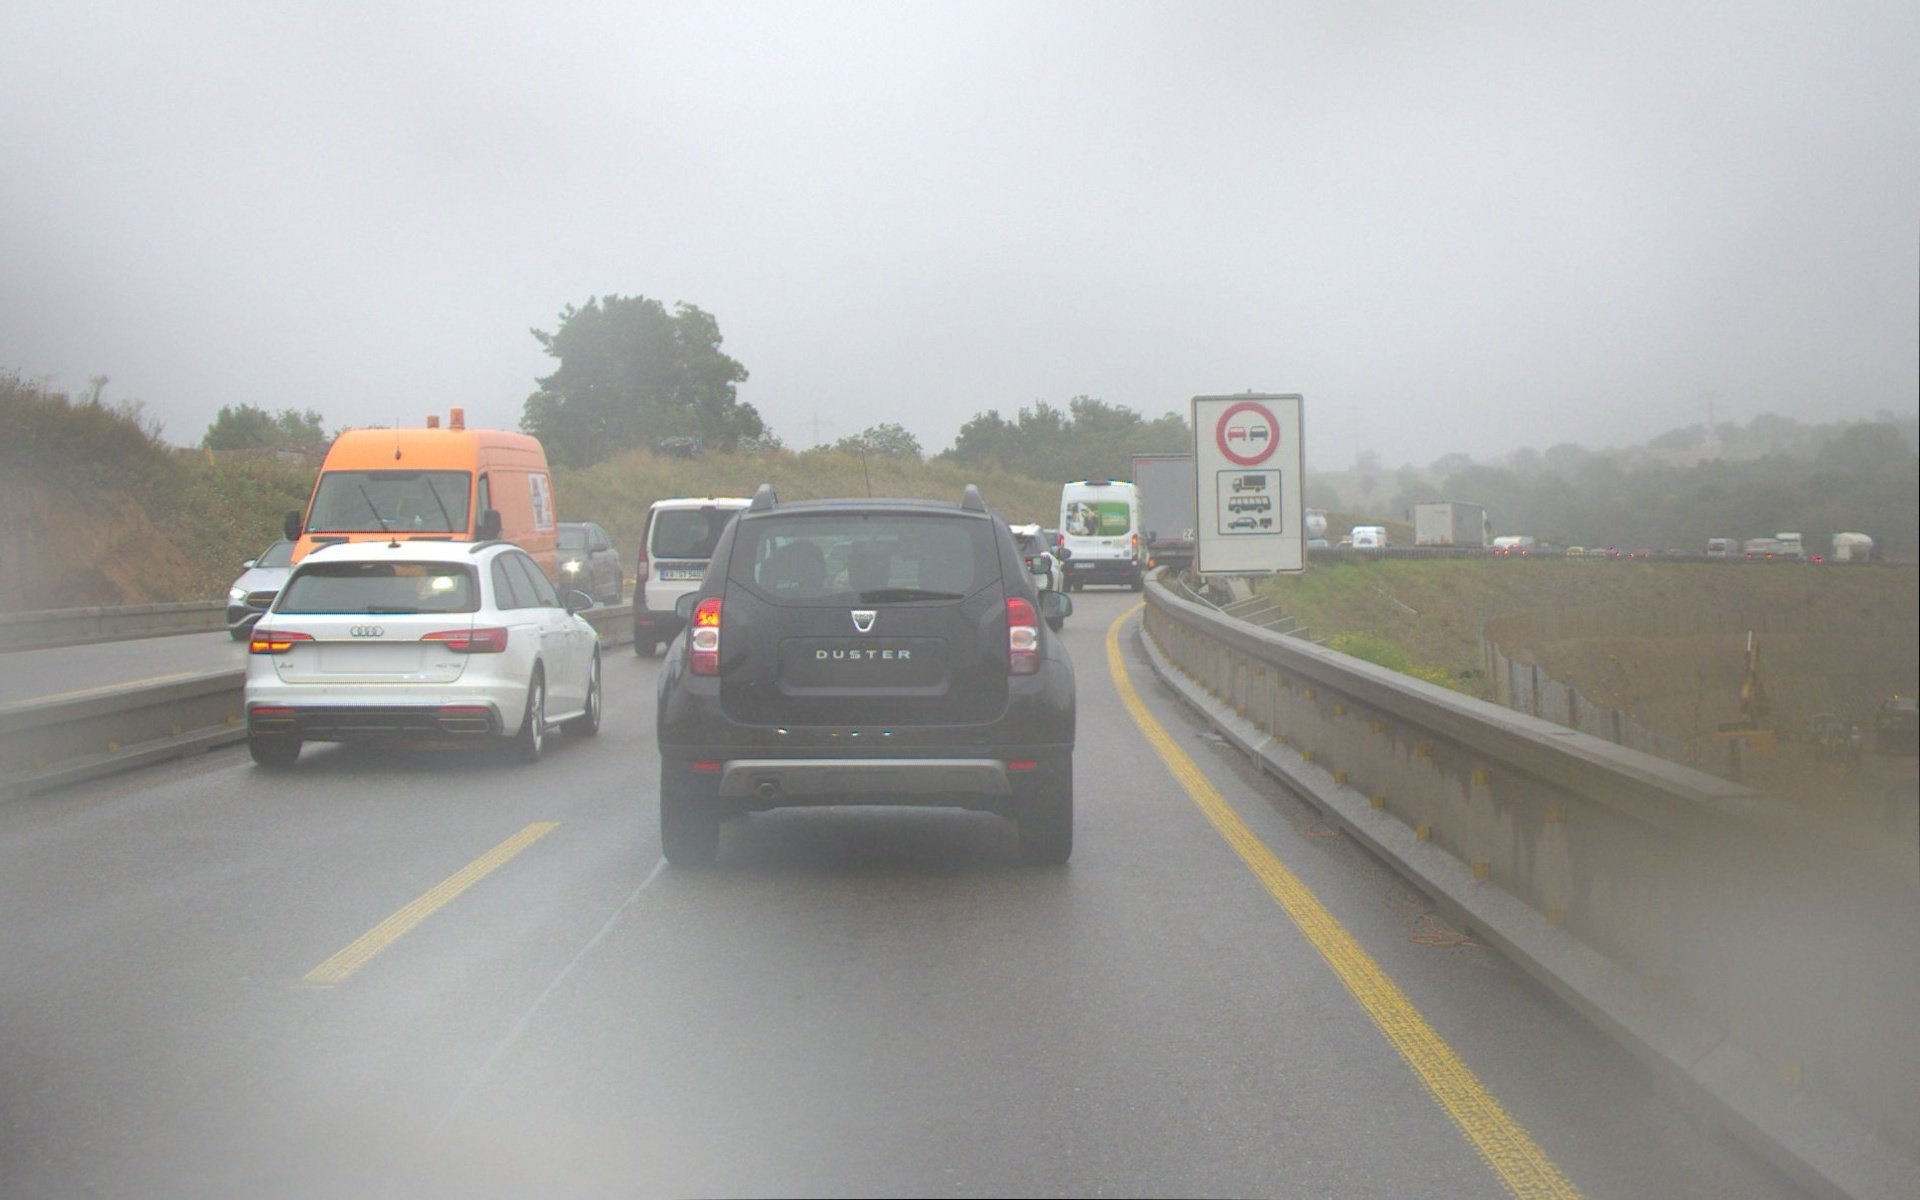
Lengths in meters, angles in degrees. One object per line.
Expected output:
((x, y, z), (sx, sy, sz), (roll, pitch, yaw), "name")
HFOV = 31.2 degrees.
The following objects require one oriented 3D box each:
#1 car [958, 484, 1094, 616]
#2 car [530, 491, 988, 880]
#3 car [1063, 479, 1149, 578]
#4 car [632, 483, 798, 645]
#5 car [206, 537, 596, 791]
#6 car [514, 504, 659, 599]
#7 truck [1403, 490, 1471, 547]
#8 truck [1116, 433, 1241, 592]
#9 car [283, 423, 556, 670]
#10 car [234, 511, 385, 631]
((0.991, -0.713, 49.523), (1.826, 1.809, 4.000), (0, 1, 3), "car")
((-0.811, 0.329, 16.121), (1.826, 1.585, 4.000), (0, 1, 1), "car")
((3.718, -1.788, 86.975), (1.827, 2.429, 4.157), (0, 1, 7), "car")
((-2.859, -0.426, 40.832), (1.826, 1.809, 4.000), (0, 1, -2), "car")
((-3.531, 0.359, 22.402), (1.826, 1.494, 4.000), (0, 1, 1), "car")
((-6.972, -0.946, 64.591), (1.994, 1.681, 4.969), (0, 2, 2), "car")
((31.959, -5.467, 230.044), (3.474, 3.702, 8.412), (0, 2, 15), "truck")
((7.408, -2.850, 115.273), (3.544, 5.060, 10.439), (0, 1, 7), "truck")
((-6.065, -0.661, 39.473), (2.054, 2.568, 7.021), (0, 2, 0), "car")
((-9.133, -0.440, 48.447), (1.531, 1.595, 3.167), (0, 2, 0), "car")
